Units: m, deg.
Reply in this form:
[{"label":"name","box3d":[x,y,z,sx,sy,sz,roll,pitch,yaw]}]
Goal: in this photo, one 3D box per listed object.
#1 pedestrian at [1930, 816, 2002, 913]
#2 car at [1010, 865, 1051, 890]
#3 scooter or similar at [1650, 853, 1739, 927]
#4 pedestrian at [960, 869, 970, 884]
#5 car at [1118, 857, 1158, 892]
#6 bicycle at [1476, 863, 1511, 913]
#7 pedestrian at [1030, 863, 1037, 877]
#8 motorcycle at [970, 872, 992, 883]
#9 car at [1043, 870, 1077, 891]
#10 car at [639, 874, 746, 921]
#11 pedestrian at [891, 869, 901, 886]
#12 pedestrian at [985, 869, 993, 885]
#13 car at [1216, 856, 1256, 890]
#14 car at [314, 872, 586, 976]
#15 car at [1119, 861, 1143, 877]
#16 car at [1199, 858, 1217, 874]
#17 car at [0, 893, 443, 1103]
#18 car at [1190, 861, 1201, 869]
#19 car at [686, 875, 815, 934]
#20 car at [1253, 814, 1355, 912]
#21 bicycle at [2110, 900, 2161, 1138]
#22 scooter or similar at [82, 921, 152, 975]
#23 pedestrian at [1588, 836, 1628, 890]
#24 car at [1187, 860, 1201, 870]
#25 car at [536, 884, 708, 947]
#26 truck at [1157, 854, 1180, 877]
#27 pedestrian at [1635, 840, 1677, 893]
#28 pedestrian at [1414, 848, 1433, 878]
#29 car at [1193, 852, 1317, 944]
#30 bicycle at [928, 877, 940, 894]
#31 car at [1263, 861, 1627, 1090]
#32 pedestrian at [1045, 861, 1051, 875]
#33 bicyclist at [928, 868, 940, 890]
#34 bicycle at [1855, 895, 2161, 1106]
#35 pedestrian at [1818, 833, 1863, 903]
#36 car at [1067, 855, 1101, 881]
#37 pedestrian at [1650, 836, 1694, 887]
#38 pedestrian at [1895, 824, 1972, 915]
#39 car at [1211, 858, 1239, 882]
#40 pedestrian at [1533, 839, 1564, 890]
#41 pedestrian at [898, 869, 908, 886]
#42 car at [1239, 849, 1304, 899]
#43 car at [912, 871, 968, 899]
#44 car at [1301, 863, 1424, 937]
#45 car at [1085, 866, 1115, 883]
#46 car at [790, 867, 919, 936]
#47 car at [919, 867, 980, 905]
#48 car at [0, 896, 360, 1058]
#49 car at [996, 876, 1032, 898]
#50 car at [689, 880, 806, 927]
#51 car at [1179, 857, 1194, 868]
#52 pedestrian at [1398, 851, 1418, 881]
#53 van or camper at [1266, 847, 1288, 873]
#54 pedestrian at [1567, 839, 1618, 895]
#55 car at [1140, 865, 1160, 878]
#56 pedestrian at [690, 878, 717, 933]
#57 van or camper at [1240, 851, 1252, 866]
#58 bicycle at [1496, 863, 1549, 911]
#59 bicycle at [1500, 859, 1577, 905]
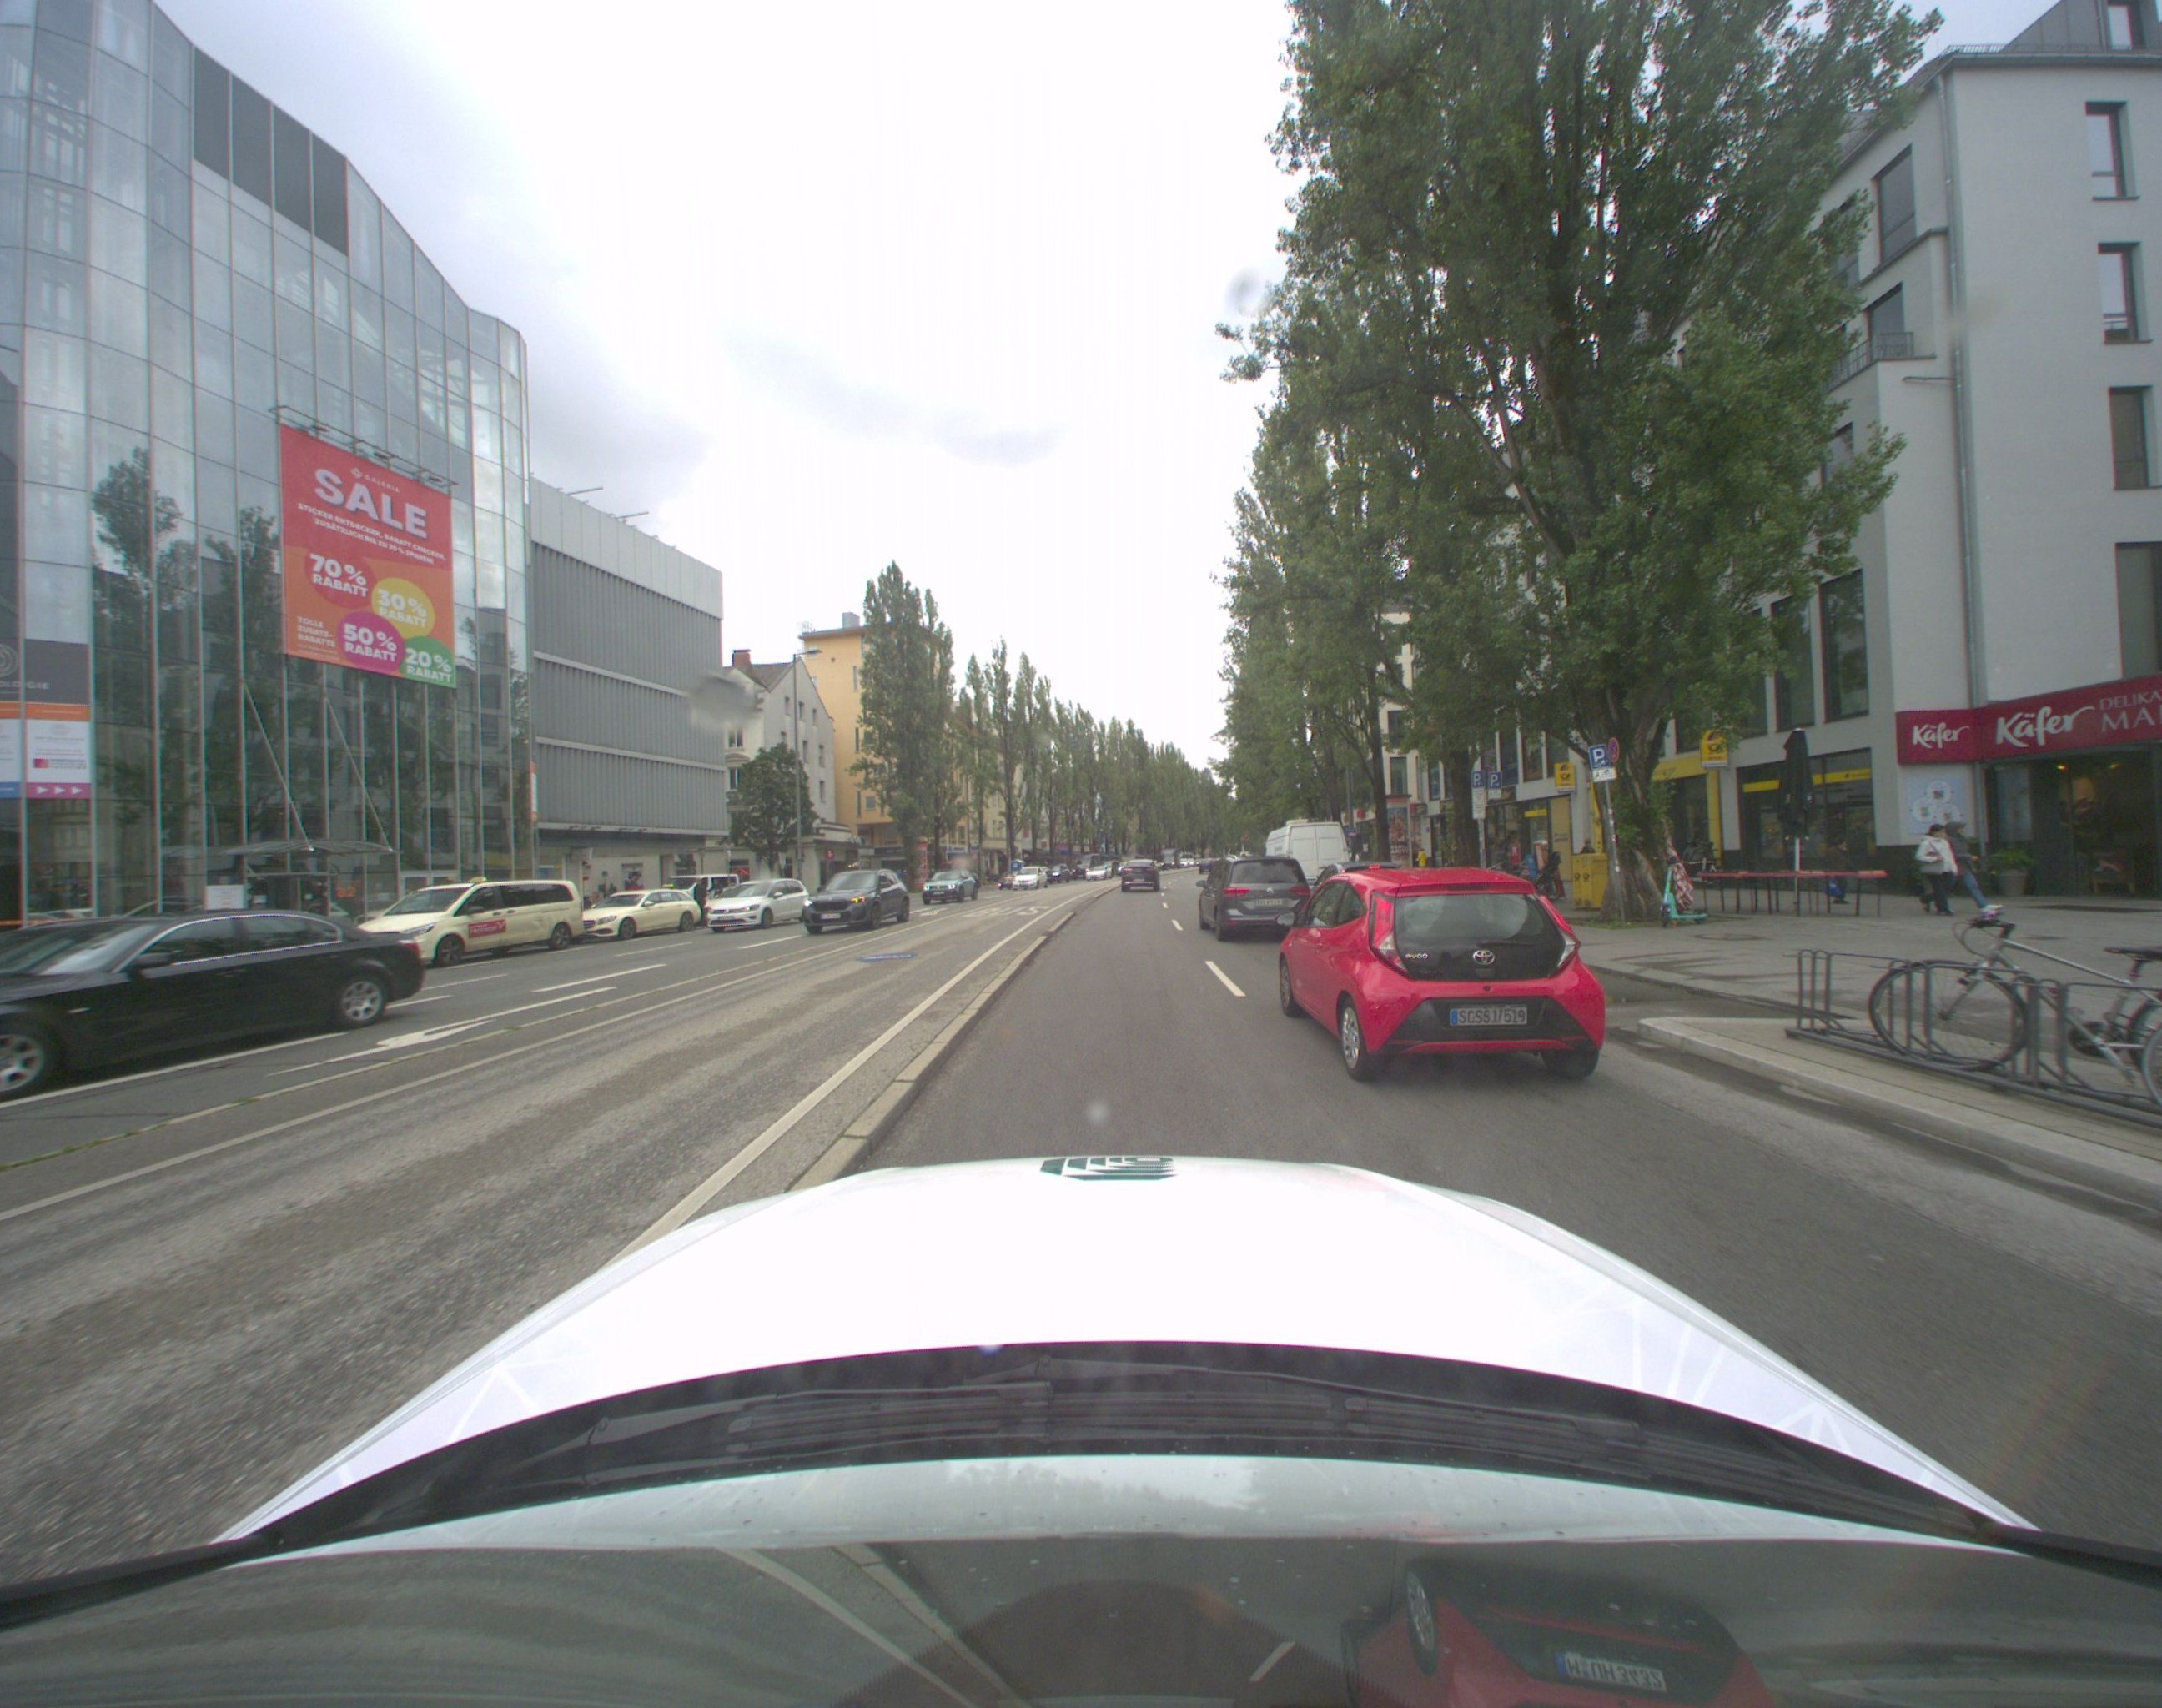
[{"label":"pedestrian","box3d":[16.125,0.185,14.856,0.576,1.701,0.598,-3,-1,10]},{"label":"car","box3d":[-3.495,1.599,57.127,1.942,1.589,4.009,-3,-1,8]},{"label":"scooter or similar","box3d":[10.800,0.624,14.335,1.468,1.207,0.398,-3,-1,-17]},{"label":"pedestrian","box3d":[-11.812,2.301,83.066,0.629,1.561,0.819,-3,-1,16]},{"label":"car","box3d":[2.986,1.027,42.056,1.872,1.642,4.589,-3,-1,5]},{"label":"bicycle","box3d":[10.224,0.817,20.226,0.473,1.160,1.833,-2,-1,18]},{"label":"pedestrian","box3d":[-5.991,1.976,102.723,0.633,1.700,0.650,-3,-1,14]},{"label":"motorcycle","box3d":[-9.908,2.332,80.688,2.053,1.036,0.485,-1,-2,-6]},{"label":"car","box3d":[-1.881,2.358,74.534,2.005,1.716,4.996,-3,-1,10]},{"label":"car","box3d":[-18.819,2.056,39.774,1.981,2.014,5.127,-3,-1,11]},{"label":"pedestrian","box3d":[-16.256,2.031,71.476,0.630,1.435,0.778,-2,-1,1]},{"label":"pedestrian","box3d":[-10.021,2.504,88.759,0.535,1.747,0.758,-2,-1,14]},{"label":"car","box3d":[8.354,1.013,44.087,1.718,1.686,4.415,-1,-1,6]},{"label":"car","box3d":[-14.723,1.516,19.551,1.984,2.014,5.328,-3,-1,5]},{"label":"car","box3d":[5.773,1.711,93.190,1.896,1.603,4.371,-3,-1,13]},{"label":"car","box3d":[13.890,1.315,88.825,1.748,1.620,3.757,-1,-1,11]},{"label":"car","box3d":[-9.286,1.271,8.080,1.827,1.487,4.741,-3,-1,5]},{"label":"car","box3d":[23.064,2.252,163.481,1.655,1.596,4.015,-1,-1,15]},{"label":"car","box3d":[-10.515,1.552,26.288,1.983,1.600,4.296,-3,-1,6]},{"label":"car","box3d":[6.880,0.325,25.757,1.985,2.742,5.559,-1,-1,4]},{"label":"bicycle","box3d":[5.746,0.784,3.353,1.779,1.054,0.550,2,1,40]},{"label":"scooter or similar","box3d":[-23.064,2.222,19.506,0.367,1.140,1.373,-2,-1,-17]},{"label":"pedestrian","box3d":[16.729,0.276,25.856,0.688,1.649,0.798,-2,-1,2]},{"label":"car","box3d":[20.335,1.898,146.542,1.925,1.642,4.480,-3,-1,14]},{"label":"car","box3d":[-14.061,1.834,25.420,1.967,1.552,5.095,-3,-1,7]},{"label":"truck","box3d":[13.442,1.681,124.080,2.274,3.323,7.185,-4,-1,14]},{"label":"pedestrian","box3d":[17.555,0.376,24.879,0.688,1.585,0.773,-2,-1,2]},{"label":"pedestrian","box3d":[18.851,0.499,44.795,0.565,1.576,0.672,-2,-1,-21]},{"label":"car","box3d":[3.424,0.824,16.751,1.754,1.614,4.185,-1,-1,2]},{"label":"bicycle","box3d":[-10.890,2.309,60.395,0.365,1.201,1.158,-3,-1,16]},{"label":"car","box3d":[2.717,0.820,7.003,1.658,1.446,3.598,-1,-1,3]},{"label":"pedestrian","box3d":[-4.473,1.915,110.436,0.633,1.862,0.650,-3,-1,14]},{"label":"bicyclist","box3d":[-10.891,1.860,60.482,0.498,1.592,0.838,-3,-1,15]},{"label":"bicycle","box3d":[5.714,0.824,4.845,1.556,1.054,0.550,2,1,40]},{"label":"pedestrian","box3d":[16.616,0.311,17.840,0.641,1.476,0.764,-2,-2,40]},{"label":"car","box3d":[0.406,1.490,86.869,2.154,2.605,6.086,-3,-1,13]},{"label":"pedestrian","box3d":[18.308,0.241,25.260,0.762,1.535,0.708,-3,-1,-2]},{"label":"pedestrian","box3d":[15.478,0.281,14.800,0.638,1.583,0.636,-3,-1,10]},{"label":"car","box3d":[10.639,1.187,60.002,1.912,1.700,4.663,-1,-1,11]},{"label":"pedestrian","box3d":[16.123,0.354,28.099,0.712,1.724,0.744,-4,-2,39]},{"label":"pedestrian","box3d":[-15.640,2.022,71.430,0.630,1.435,0.778,-2,-1,1]},{"label":"car","box3d":[7.358,0.758,31.865,1.919,1.805,4.788,-1,-1,7]},{"label":"car","box3d":[-9.650,2.083,55.998,1.740,1.816,4.023,-1,-2,27]},{"label":"car","box3d":[6.106,0.930,18.150,1.716,1.454,4.154,0,-1,6]},{"label":"car","box3d":[1.895,1.983,79.310,1.786,1.394,4.709,-3,-1,14]},{"label":"car","box3d":[-6.193,1.245,22.868,1.984,1.621,4.418,-4,-1,4]},{"label":"car","box3d":[-6.103,1.448,38.205,1.809,1.545,4.005,-4,-1,5]},{"label":"car","box3d":[-12.295,1.444,10.181,1.951,1.546,4.951,-3,-1,3]},{"label":"car","box3d":[-5.141,2.531,62.799,1.773,1.466,4.010,-3,-1,9]},{"label":"car","box3d":[-13.262,1.925,32.780,1.845,1.469,4.996,-4,-1,10]},{"label":"car","box3d":[17.860,1.412,137.144,1.847,1.711,4.553,-4,-1,14]},{"label":"pedestrian","box3d":[17.072,0.619,42.532,0.679,1.558,0.751,-3,-1,4]},{"label":"van or camper","box3d":[25.548,0.773,106.212,2.442,3.112,4.735,-3,-1,16]},{"label":"pedestrian","box3d":[15.493,0.380,24.695,0.797,1.637,1.023,-2,-1,-1]},{"label":"car","box3d":[9.207,2.291,108.533,1.980,1.589,5.212,-4,-1,12]},{"label":"pedestrian","box3d":[-13.174,1.778,28.454,0.789,1.867,0.840,-2,-1,-23]},{"label":"van or camper","box3d":[30.755,0.853,151.672,2.020,2.476,4.015,-2,-2,15]},{"label":"bicycle","box3d":[11.100,0.809,20.526,0.475,1.160,1.634,-2,-1,2]},{"label":"bicycle","box3d":[12.093,0.725,21.569,1.616,1.160,0.708,-2,-1,15]}]
